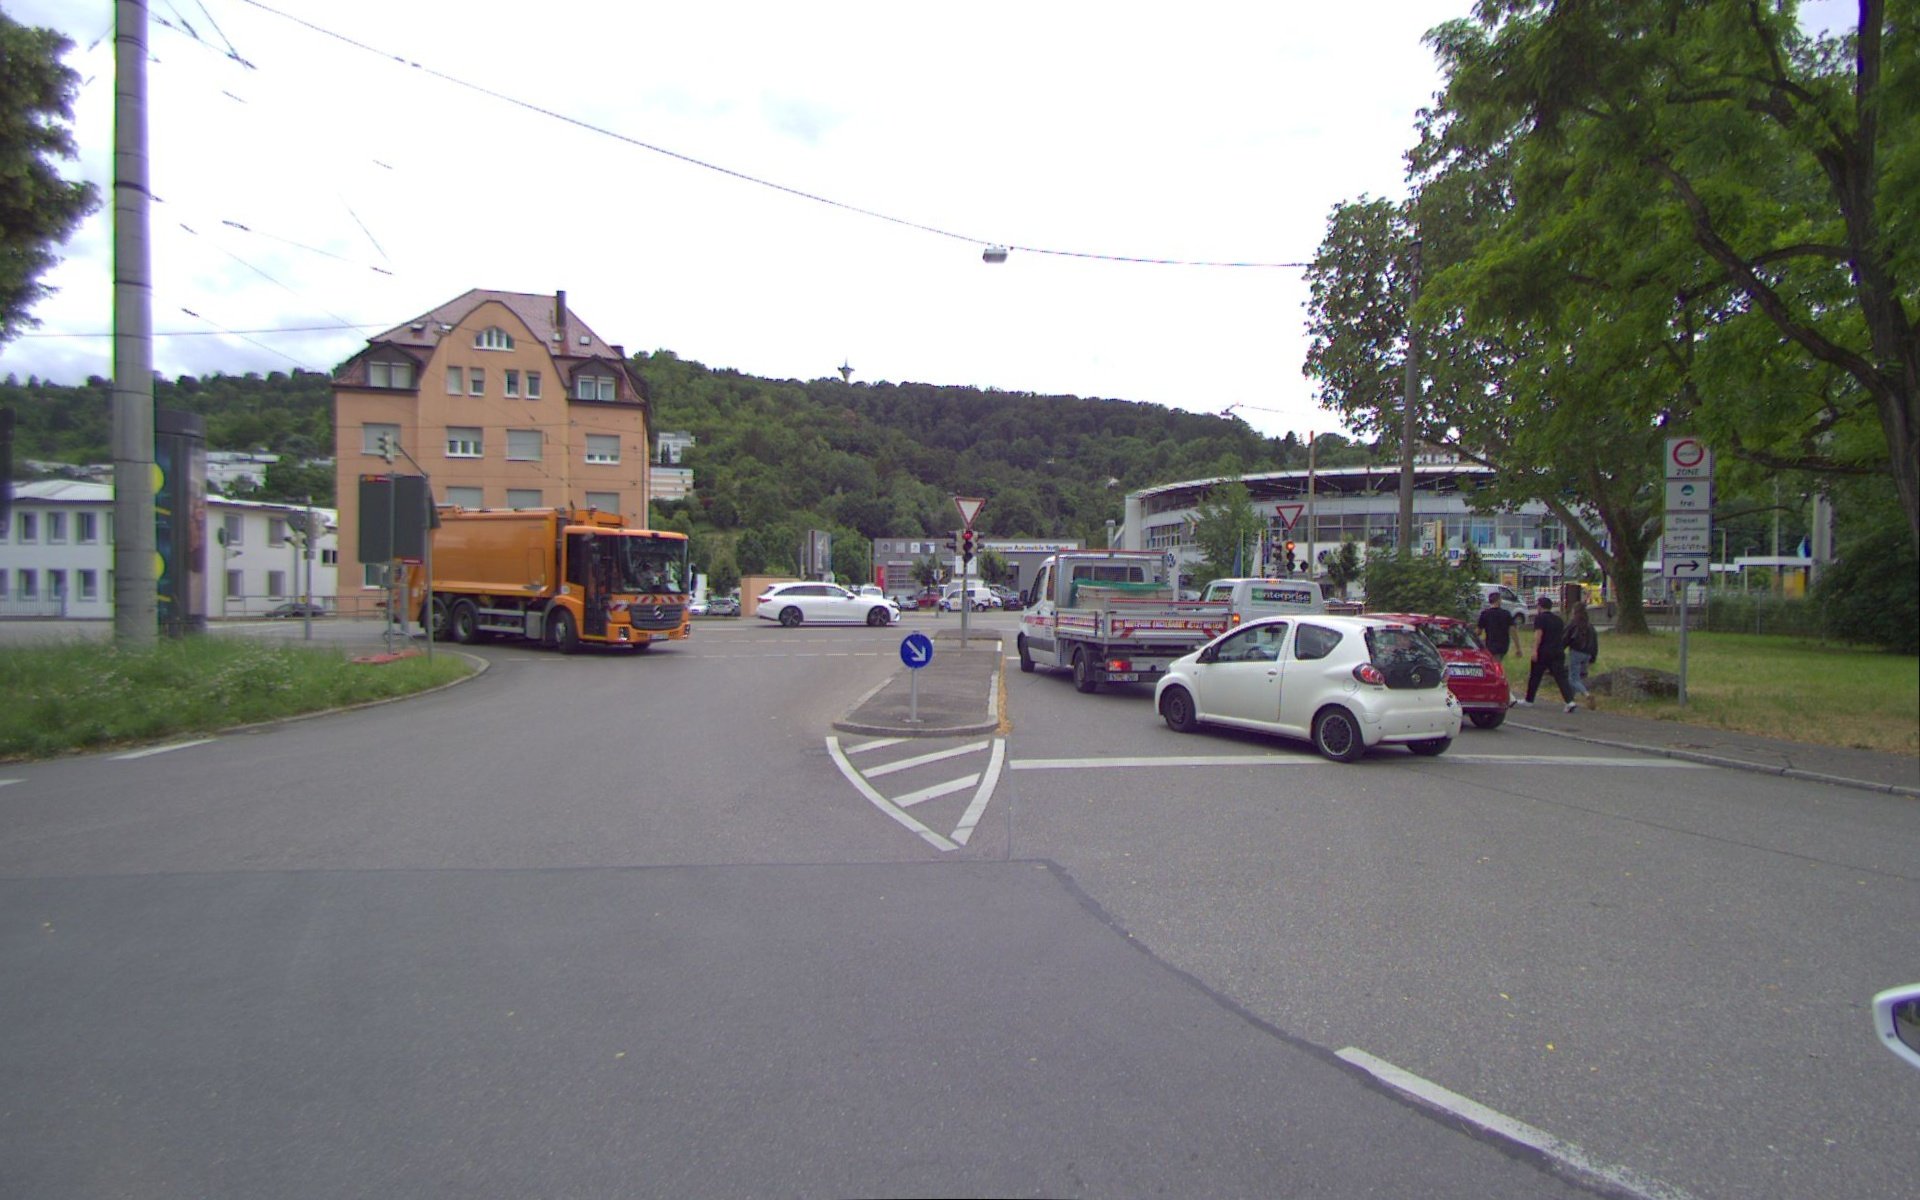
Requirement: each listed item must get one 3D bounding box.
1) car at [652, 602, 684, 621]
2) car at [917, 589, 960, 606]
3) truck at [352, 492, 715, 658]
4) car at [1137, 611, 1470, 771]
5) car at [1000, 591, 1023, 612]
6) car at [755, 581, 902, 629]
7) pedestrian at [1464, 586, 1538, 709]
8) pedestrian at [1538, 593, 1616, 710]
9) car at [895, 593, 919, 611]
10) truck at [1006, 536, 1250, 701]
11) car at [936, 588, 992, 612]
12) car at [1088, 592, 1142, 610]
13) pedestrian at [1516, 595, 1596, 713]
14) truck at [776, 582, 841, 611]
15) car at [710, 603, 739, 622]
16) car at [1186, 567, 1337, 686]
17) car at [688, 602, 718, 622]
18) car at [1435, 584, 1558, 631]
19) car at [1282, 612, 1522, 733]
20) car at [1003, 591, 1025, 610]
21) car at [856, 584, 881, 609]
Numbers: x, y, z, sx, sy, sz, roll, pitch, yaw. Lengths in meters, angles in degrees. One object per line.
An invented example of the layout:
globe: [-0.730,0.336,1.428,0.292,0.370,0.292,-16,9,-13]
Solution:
car: [-25.141,0.994,86.557,1.749,1.539,3.628,1,1,-2]
car: [-2.127,-0.248,98.633,4.007,1.554,1.776,0,1,6]
truck: [-11.006,-0.701,25.341,10.235,3.574,2.792,2,1,30]
car: [3.735,0.887,11.446,1.624,1.452,3.404,0,1,-29]
car: [4.582,0.114,88.177,1.960,1.840,4.001,0,1,4]
car: [-4.484,0.142,34.022,4.812,1.528,1.800,0,2,-13]
pedestrian: [8.538,0.721,15.872,0.684,1.882,0.785,0,1,-16]
pedestrian: [9.619,0.777,15.677,0.684,1.763,0.785,0,1,-16]
car: [-4.682,0.147,89.679,1.740,1.554,4.091,0,1,3]
truck: [2.680,0.253,17.991,2.386,2.430,6.016,0,1,-11]
car: [0.358,-0.021,85.402,4.610,1.929,1.776,0,1,7]
car: [13.880,0.110,90.085,4.714,1.554,1.776,0,1,5]
pedestrian: [9.020,0.791,15.223,0.684,1.737,0.785,0,1,-16]
truck: [-12.953,-0.283,85.835,5.131,2.425,1.987,0,1,-26]
car: [-20.269,1.038,86.726,1.749,1.539,3.628,1,1,-2]
car: [5.955,0.451,20.458,1.956,2.135,4.763,0,1,4]
car: [-22.166,1.023,86.697,1.749,1.539,3.628,1,1,-2]
car: [24.424,0.311,45.733,5.221,2.041,1.963,0,1,-21]
car: [6.268,0.961,14.674,1.614,1.476,3.425,1,0,-9]
car: [4.759,0.014,88.016,1.740,1.554,4.092,0,1,5]
car: [-7.101,-0.304,77.992,1.831,1.842,4.397,0,1,-7]
